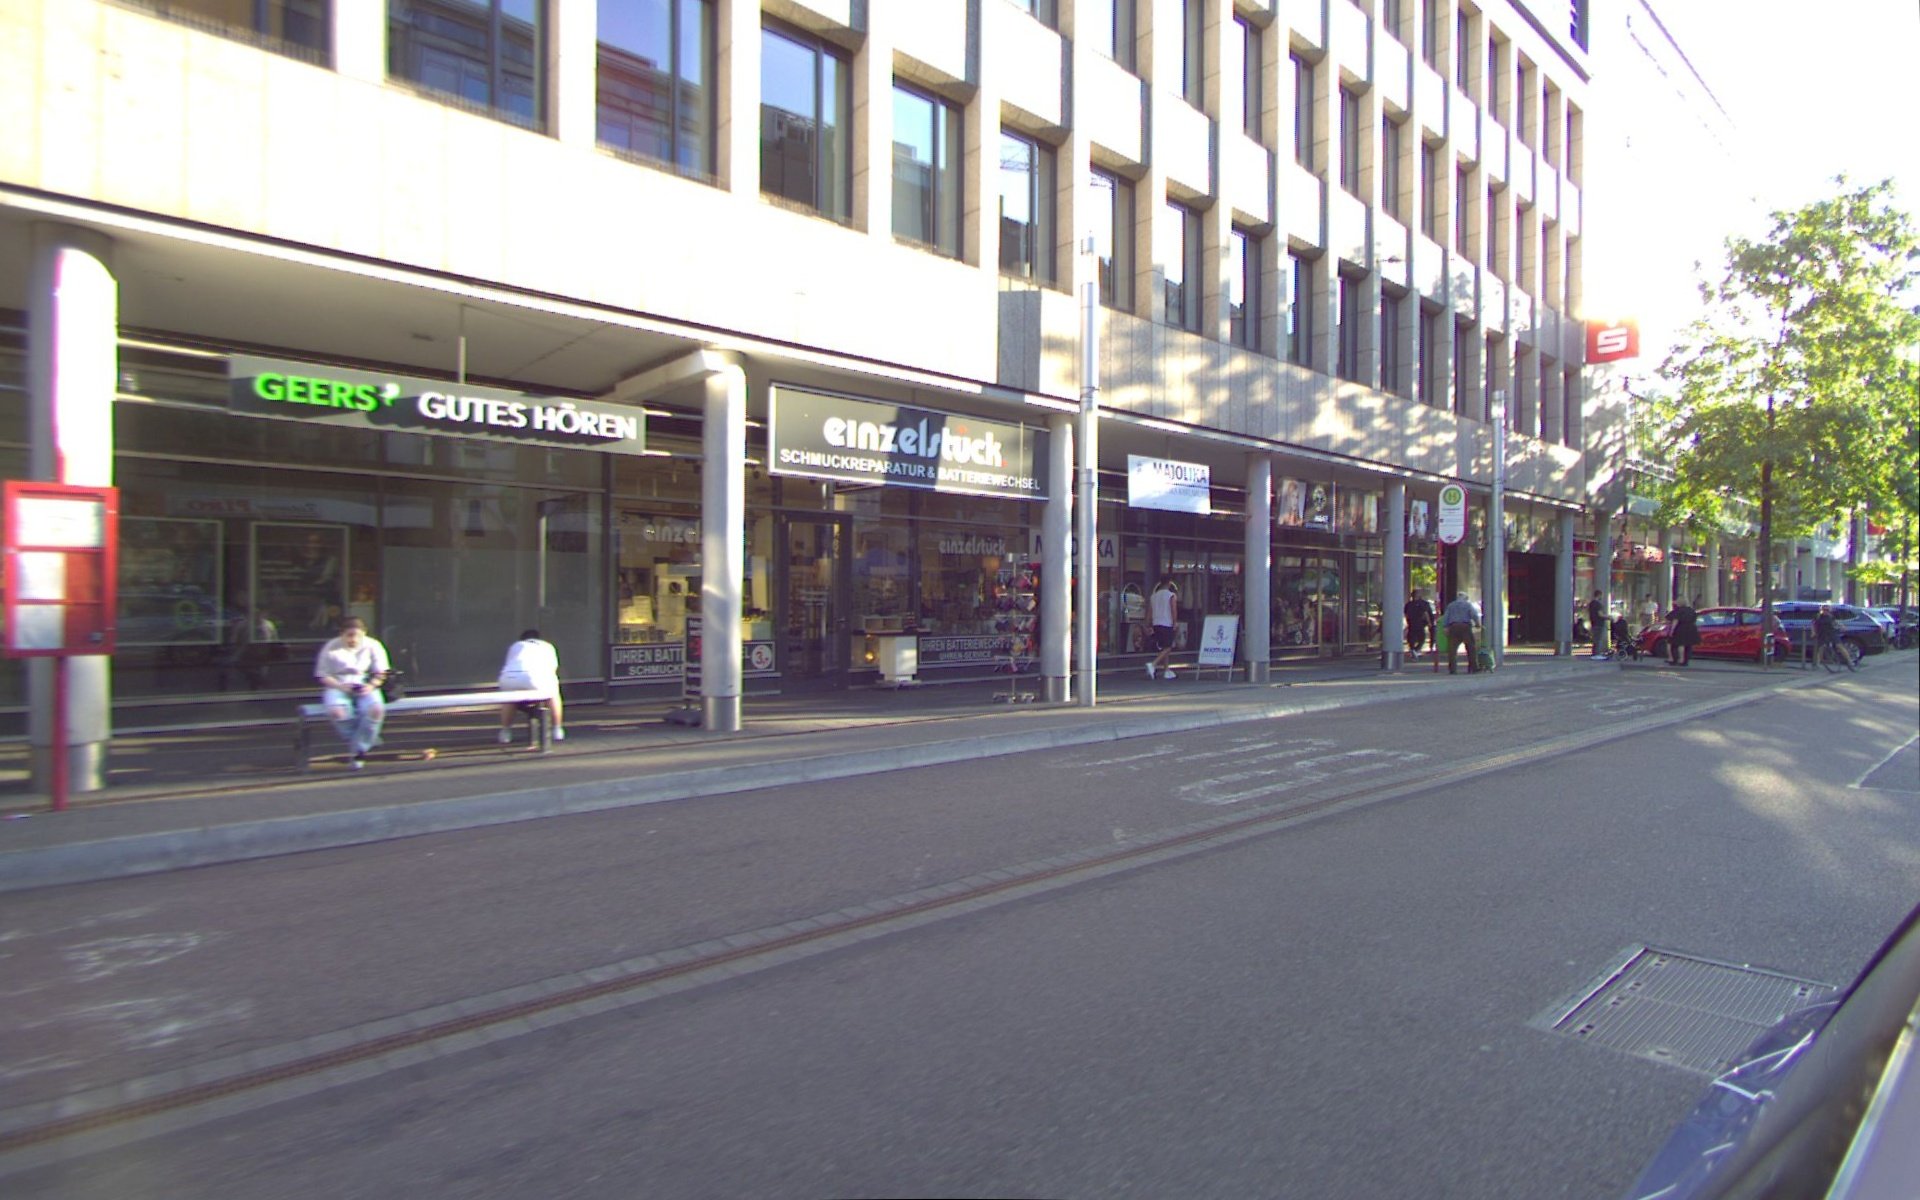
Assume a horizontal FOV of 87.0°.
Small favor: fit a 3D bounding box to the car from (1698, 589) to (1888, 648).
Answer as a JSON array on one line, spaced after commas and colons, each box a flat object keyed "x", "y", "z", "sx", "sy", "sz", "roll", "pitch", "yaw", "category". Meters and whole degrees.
[{"x": 26.413, "y": 0.546, "z": 32.276, "sx": 4.194, "sy": 1.607, "sz": 1.874, "roll": 2, "pitch": 2, "yaw": 18, "category": "car"}]

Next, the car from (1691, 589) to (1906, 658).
[{"x": 23.614, "y": 0.624, "z": 28.692, "sx": 4.299, "sy": 1.672, "sz": 1.685, "roll": 2, "pitch": 2, "yaw": 19, "category": "car"}]

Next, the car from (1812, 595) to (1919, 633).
[{"x": 42.547, "y": 0.668, "z": 46.337, "sx": 4.986, "sy": 1.487, "sz": 1.970, "roll": 3, "pitch": 2, "yaw": 14, "category": "car"}]

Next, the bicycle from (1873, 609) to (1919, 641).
[{"x": 36.235, "y": 0.980, "z": 38.617, "sx": 1.873, "sy": 1.133, "sz": 0.663, "roll": 3, "pitch": 2, "yaw": 21, "category": "bicycle"}]

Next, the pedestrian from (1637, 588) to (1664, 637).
[{"x": 25.535, "y": 0.446, "z": 37.419, "sx": 0.588, "sy": 1.765, "sz": 0.626, "roll": 1, "pitch": 1, "yaw": -36, "category": "pedestrian"}]

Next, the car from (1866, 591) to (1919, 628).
[{"x": 50.107, "y": 0.570, "z": 52.136, "sx": 4.610, "sy": 1.785, "sz": 1.982, "roll": 3, "pitch": 2, "yaw": 20, "category": "car"}]

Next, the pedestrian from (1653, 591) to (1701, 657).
[{"x": 17.738, "y": 0.585, "z": 25.050, "sx": 0.677, "sy": 1.571, "sz": 0.607, "roll": 2, "pitch": 1, "yaw": 3, "category": "pedestrian"}]

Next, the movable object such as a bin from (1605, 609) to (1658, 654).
[{"x": 17.033, "y": 0.788, "z": 25.683, "sx": 0.818, "sy": 1.077, "sz": 0.689, "roll": 2, "pitch": 1, "yaw": 1, "category": "movable object such as a bin"}]

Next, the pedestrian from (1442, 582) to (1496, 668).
[{"x": 9.564, "y": 0.466, "z": 19.023, "sx": 0.621, "sy": 1.593, "sz": 0.682, "roll": 1, "pitch": -2, "yaw": -40, "category": "pedestrian"}]

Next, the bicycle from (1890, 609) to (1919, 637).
[{"x": 39.373, "y": 0.967, "z": 41.488, "sx": 1.544, "sy": 1.102, "sz": 0.864, "roll": 3, "pitch": 1, "yaw": 19, "category": "bicycle"}]

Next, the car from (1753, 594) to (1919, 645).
[{"x": 31.731, "y": 0.666, "z": 36.764, "sx": 4.102, "sy": 1.591, "sz": 1.845, "roll": 3, "pitch": 1, "yaw": 17, "category": "car"}]

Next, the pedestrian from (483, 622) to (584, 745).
[{"x": -3.933, "y": 0.733, "z": 9.325, "sx": 0.683, "sy": 1.044, "sz": 0.838, "roll": 1, "pitch": -1, "yaw": -36, "category": "pedestrian"}]

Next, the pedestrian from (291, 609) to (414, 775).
[{"x": -4.779, "y": 0.681, "z": 7.955, "sx": 0.770, "sy": 1.213, "sz": 0.668, "roll": 1, "pitch": -1, "yaw": -36, "category": "pedestrian"}]

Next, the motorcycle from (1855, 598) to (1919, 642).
[{"x": 35.070, "y": 0.759, "z": 37.809, "sx": 2.279, "sy": 1.528, "sz": 0.858, "roll": 2, "pitch": 2, "yaw": 6, "category": "motorcycle"}]

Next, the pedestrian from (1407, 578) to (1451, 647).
[{"x": 12.526, "y": 0.332, "z": 27.044, "sx": 0.768, "sy": 1.807, "sz": 0.846, "roll": 1, "pitch": -1, "yaw": -40, "category": "pedestrian"}]

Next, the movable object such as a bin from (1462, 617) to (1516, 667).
[{"x": 10.064, "y": 0.791, "z": 19.254, "sx": 0.705, "sy": 0.936, "sz": 0.691, "roll": 1, "pitch": -2, "yaw": -40, "category": "movable object such as a bin"}]

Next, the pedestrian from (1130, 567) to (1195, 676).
[{"x": 3.502, "y": 0.358, "z": 17.509, "sx": 0.842, "sy": 1.816, "sz": 0.745, "roll": 1, "pitch": -1, "yaw": -41, "category": "pedestrian"}]

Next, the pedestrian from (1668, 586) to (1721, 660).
[{"x": 17.558, "y": 0.544, "z": 24.210, "sx": 0.682, "sy": 1.706, "sz": 0.682, "roll": 2, "pitch": 1, "yaw": -7, "category": "pedestrian"}]

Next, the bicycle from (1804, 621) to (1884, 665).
[{"x": 21.406, "y": 1.027, "z": 24.499, "sx": 2.017, "sy": 1.008, "sz": 0.721, "roll": 0, "pitch": -2, "yaw": -27, "category": "bicycle"}]

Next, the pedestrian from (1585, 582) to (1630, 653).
[{"x": 16.432, "y": 0.426, "z": 25.691, "sx": 0.621, "sy": 1.753, "sz": 0.689, "roll": 2, "pitch": 1, "yaw": 1, "category": "pedestrian"}]

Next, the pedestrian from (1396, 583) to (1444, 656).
[{"x": 10.422, "y": 0.424, "z": 22.928, "sx": 0.909, "sy": 1.609, "sz": 0.697, "roll": 1, "pitch": -1, "yaw": -41, "category": "pedestrian"}]

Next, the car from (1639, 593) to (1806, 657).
[{"x": 20.645, "y": 0.631, "z": 27.581, "sx": 3.370, "sy": 1.499, "sz": 1.650, "roll": 3, "pitch": 2, "yaw": 30, "category": "car"}]

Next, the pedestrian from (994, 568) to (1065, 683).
[{"x": 1.081, "y": 0.381, "z": 15.751, "sx": 0.842, "sy": 1.722, "sz": 0.745, "roll": 1, "pitch": -1, "yaw": -41, "category": "pedestrian"}]

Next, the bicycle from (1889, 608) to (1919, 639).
[{"x": 37.787, "y": 0.944, "z": 39.986, "sx": 1.662, "sy": 1.177, "sz": 0.481, "roll": 2, "pitch": 2, "yaw": -1, "category": "bicycle"}]

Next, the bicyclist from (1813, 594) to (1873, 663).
[{"x": 21.446, "y": 0.679, "z": 24.588, "sx": 0.894, "sy": 1.634, "sz": 0.781, "roll": 0, "pitch": -2, "yaw": -27, "category": "bicyclist"}]
